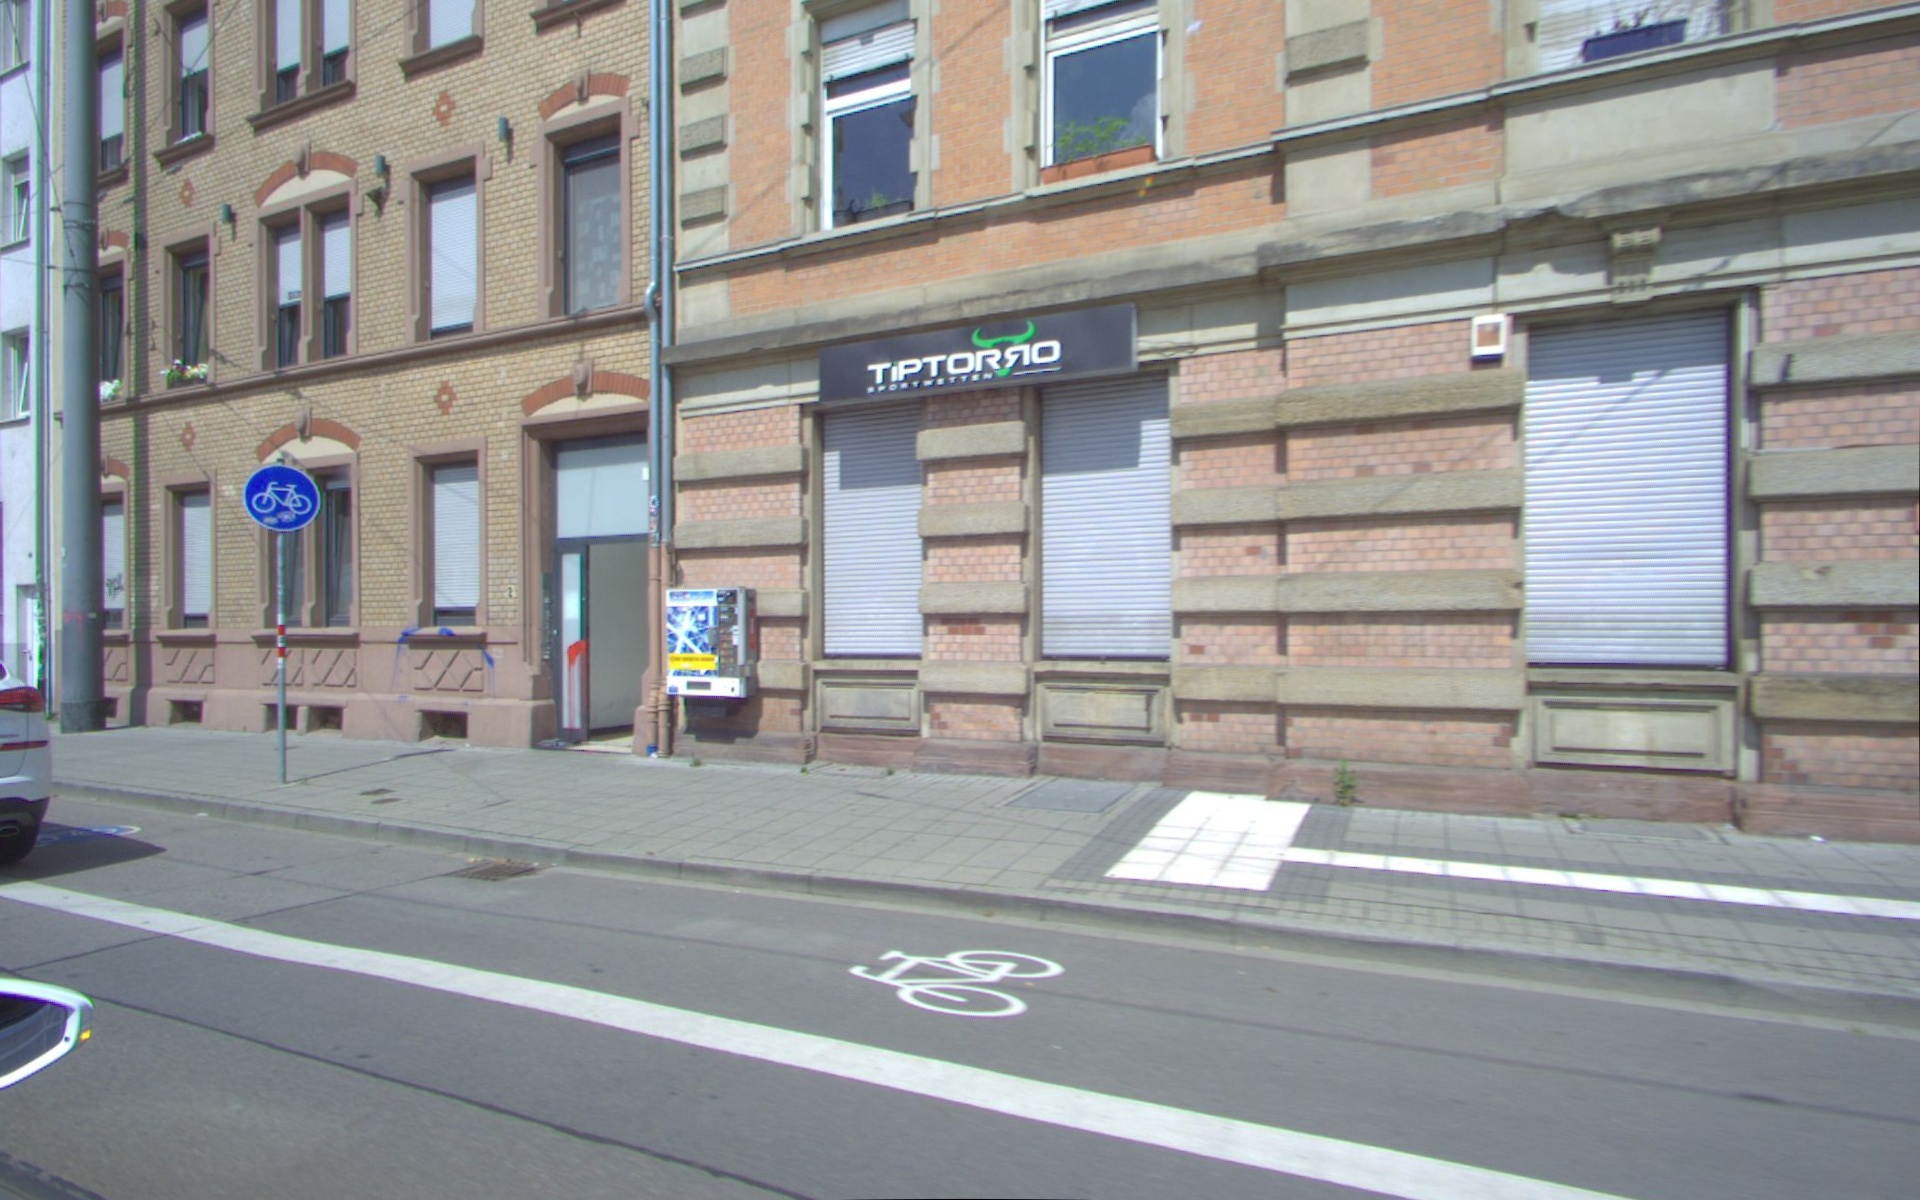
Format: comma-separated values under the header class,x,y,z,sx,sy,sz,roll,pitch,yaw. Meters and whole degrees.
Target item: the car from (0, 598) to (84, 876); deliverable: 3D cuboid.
class,x,y,z,sx,sy,sz,roll,pitch,yaw
car,-7.780,0.820,6.387,4.113,1.655,1.852,-1,-2,26
